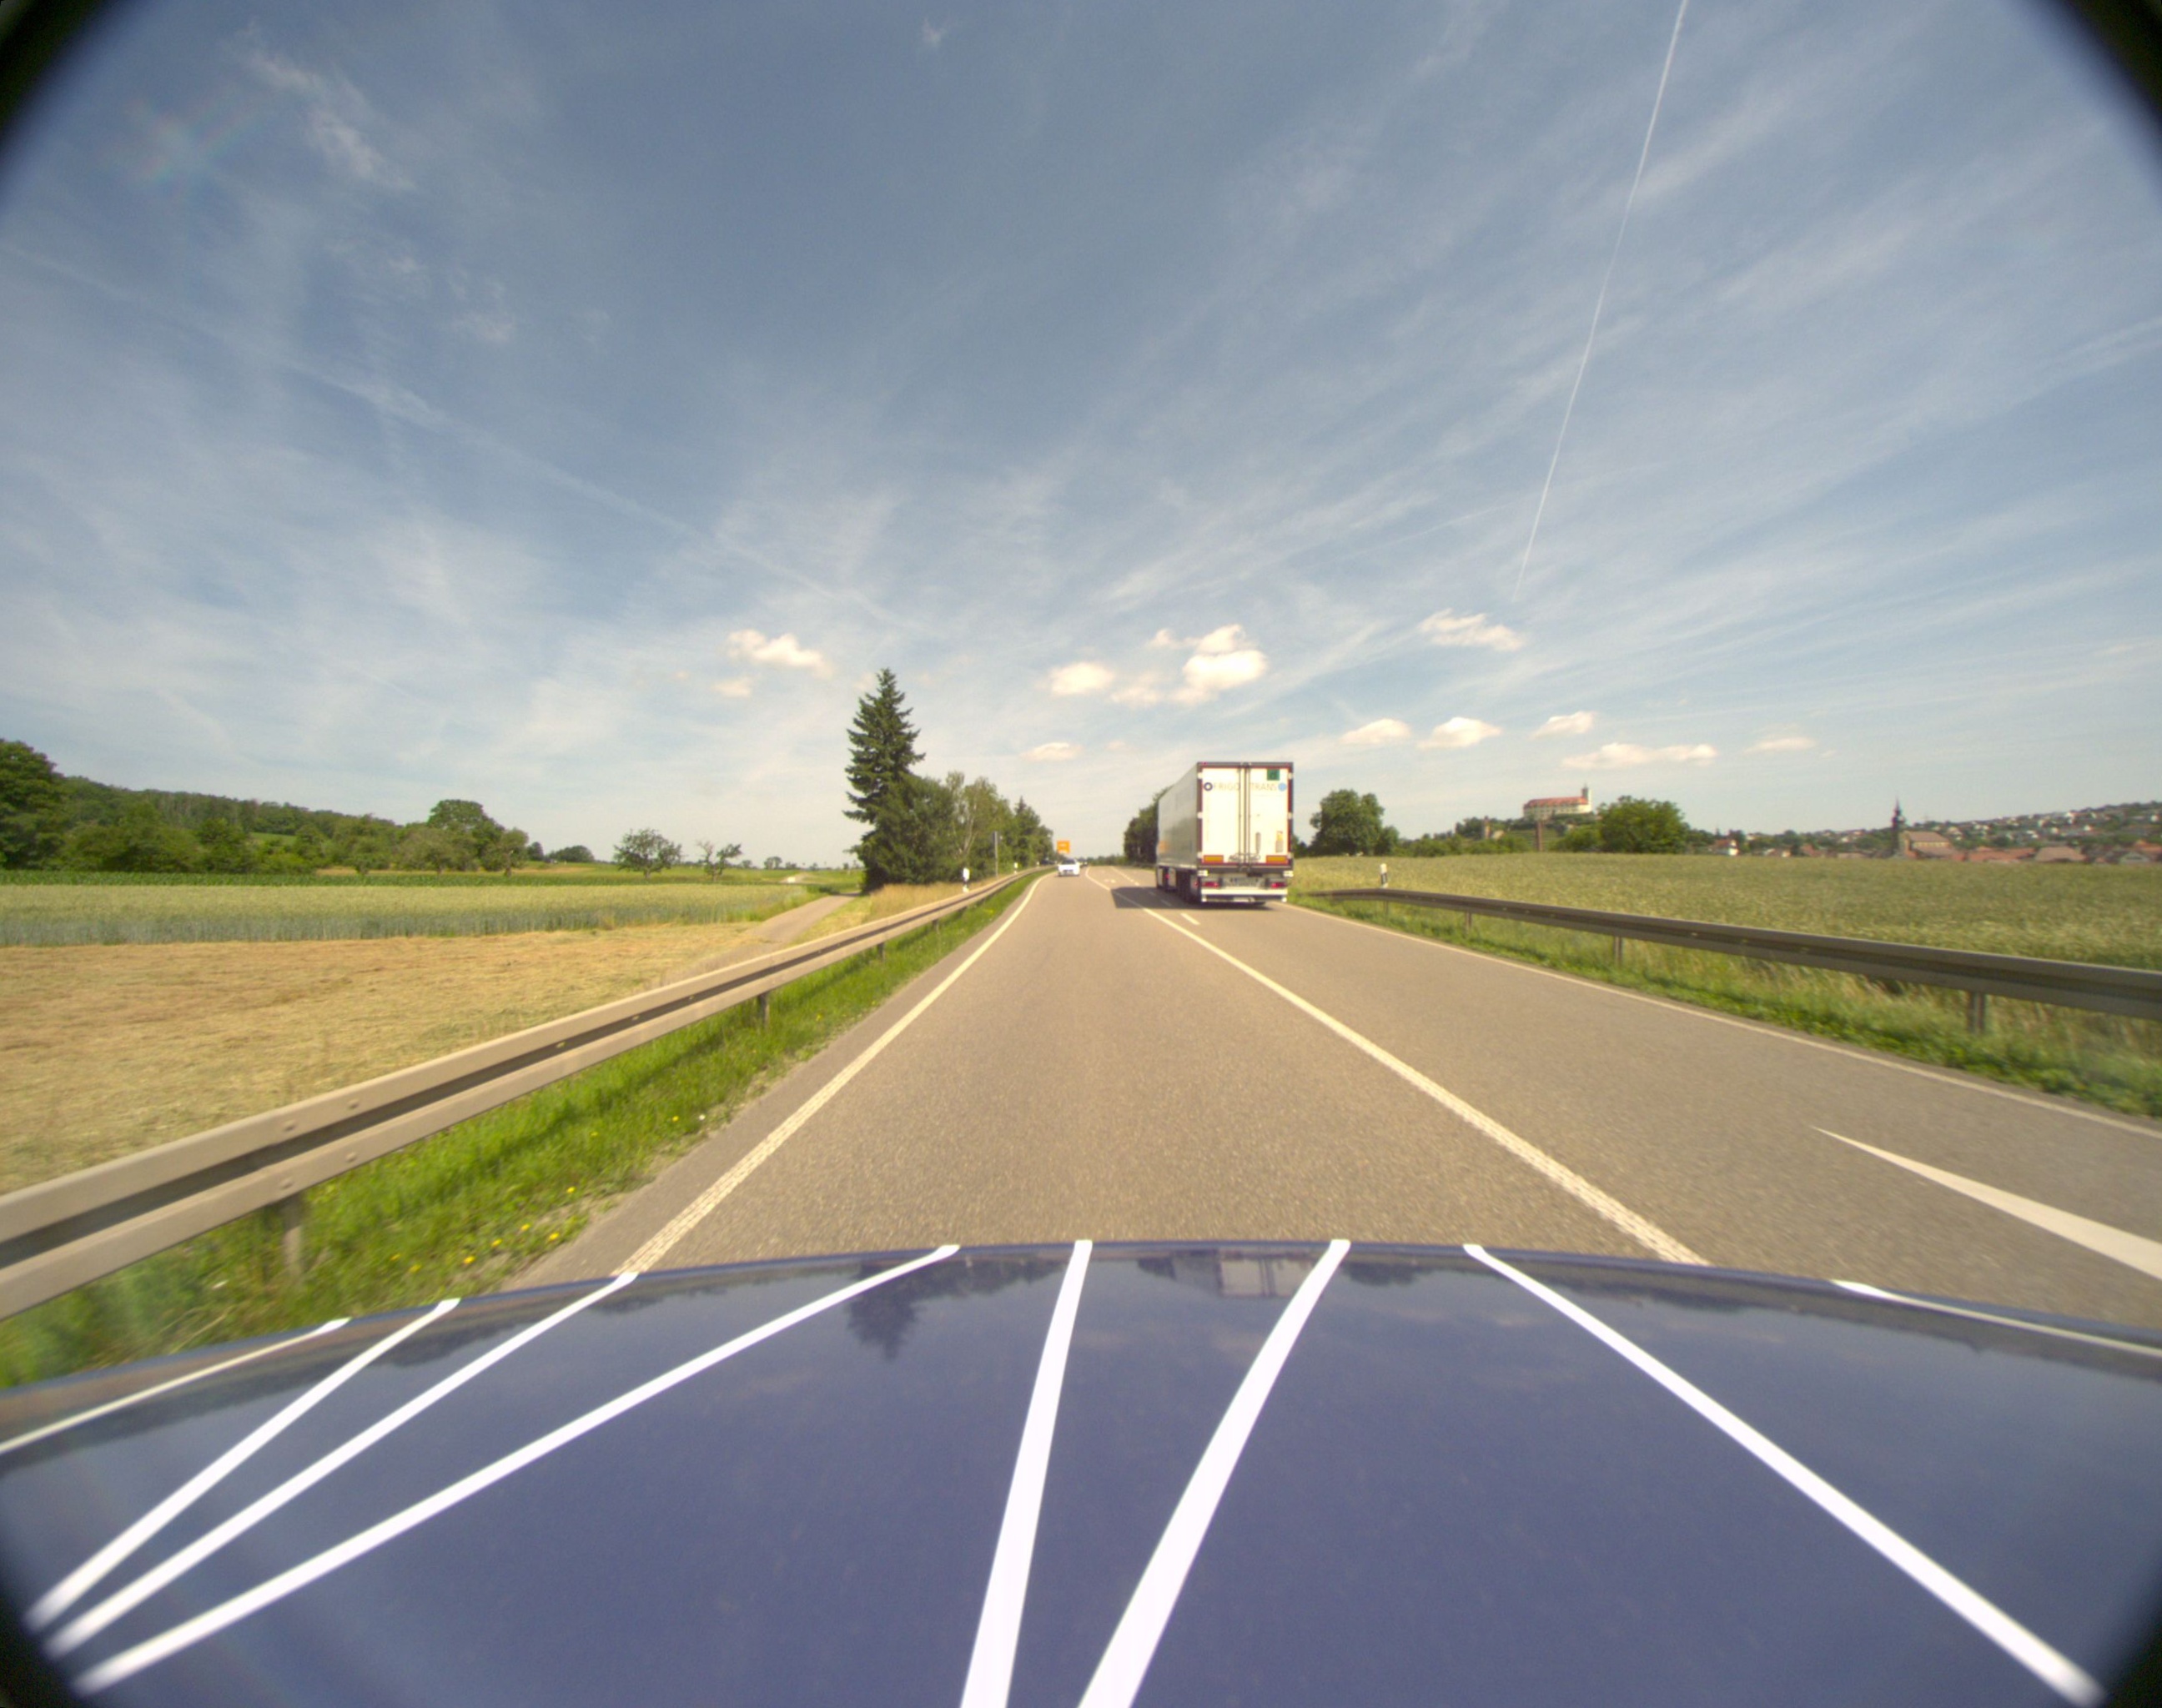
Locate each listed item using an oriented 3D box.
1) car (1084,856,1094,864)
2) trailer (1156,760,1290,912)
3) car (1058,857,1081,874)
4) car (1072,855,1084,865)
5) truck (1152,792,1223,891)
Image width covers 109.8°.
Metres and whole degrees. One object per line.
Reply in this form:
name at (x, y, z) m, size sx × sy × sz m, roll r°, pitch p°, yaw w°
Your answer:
car at (1.589, 1.130, 147.904) m, size 1.929 × 1.441 × 4.001 m, roll -1°, pitch -1°, yaw 0°
trailer at (4.534, -0.515, 27.547) m, size 2.513 × 4.096 × 13.898 m, roll 0°, pitch 0°, yaw 1°
car at (-1.043, 0.968, 66.740) m, size 1.929 × 1.441 × 4.534 m, roll -2°, pitch 0°, yaw -2°
car at (-0.521, 0.964, 122.773) m, size 1.929 × 1.441 × 4.077 m, roll -1°, pitch -1°, yaw 0°
truck at (4.702, -0.551, 34.547) m, size 2.536 × 4.096 × 6.021 m, roll 0°, pitch 1°, yaw 2°
